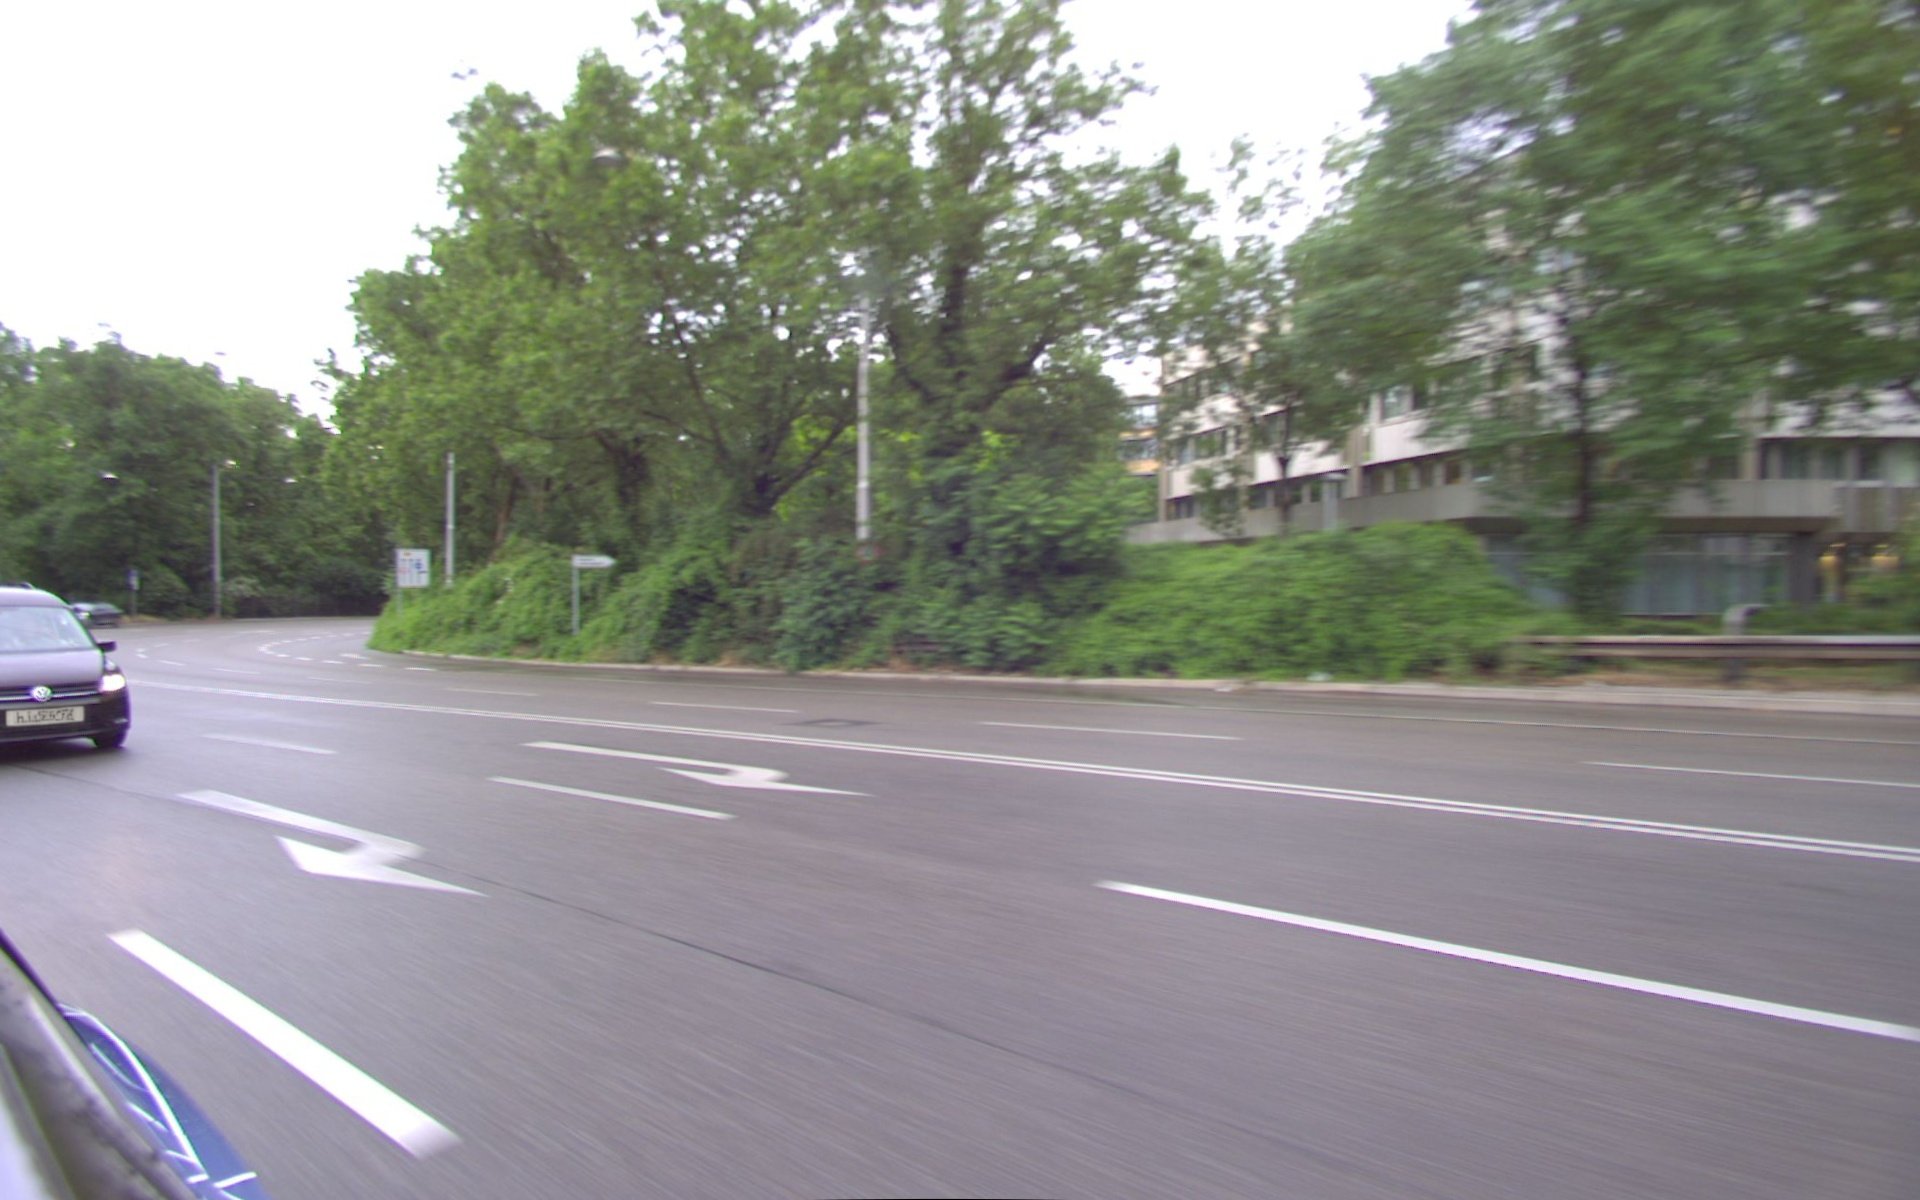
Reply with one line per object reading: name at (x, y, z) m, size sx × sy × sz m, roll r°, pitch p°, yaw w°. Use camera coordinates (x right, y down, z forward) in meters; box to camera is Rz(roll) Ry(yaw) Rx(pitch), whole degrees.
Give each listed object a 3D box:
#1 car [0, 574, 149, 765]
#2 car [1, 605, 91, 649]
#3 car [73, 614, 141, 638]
car at (-10.695, 0.690, 10.989) m, size 4.113 × 1.813 × 1.776 m, roll -1°, pitch -1°, yaw 33°
car at (-39.178, 1.098, 43.496) m, size 1.966 × 1.758 × 4.669 m, roll 0°, pitch 0°, yaw -31°
car at (-51.827, 1.564, 61.567) m, size 1.560 × 1.343 × 3.107 m, roll 0°, pitch 0°, yaw -1°
